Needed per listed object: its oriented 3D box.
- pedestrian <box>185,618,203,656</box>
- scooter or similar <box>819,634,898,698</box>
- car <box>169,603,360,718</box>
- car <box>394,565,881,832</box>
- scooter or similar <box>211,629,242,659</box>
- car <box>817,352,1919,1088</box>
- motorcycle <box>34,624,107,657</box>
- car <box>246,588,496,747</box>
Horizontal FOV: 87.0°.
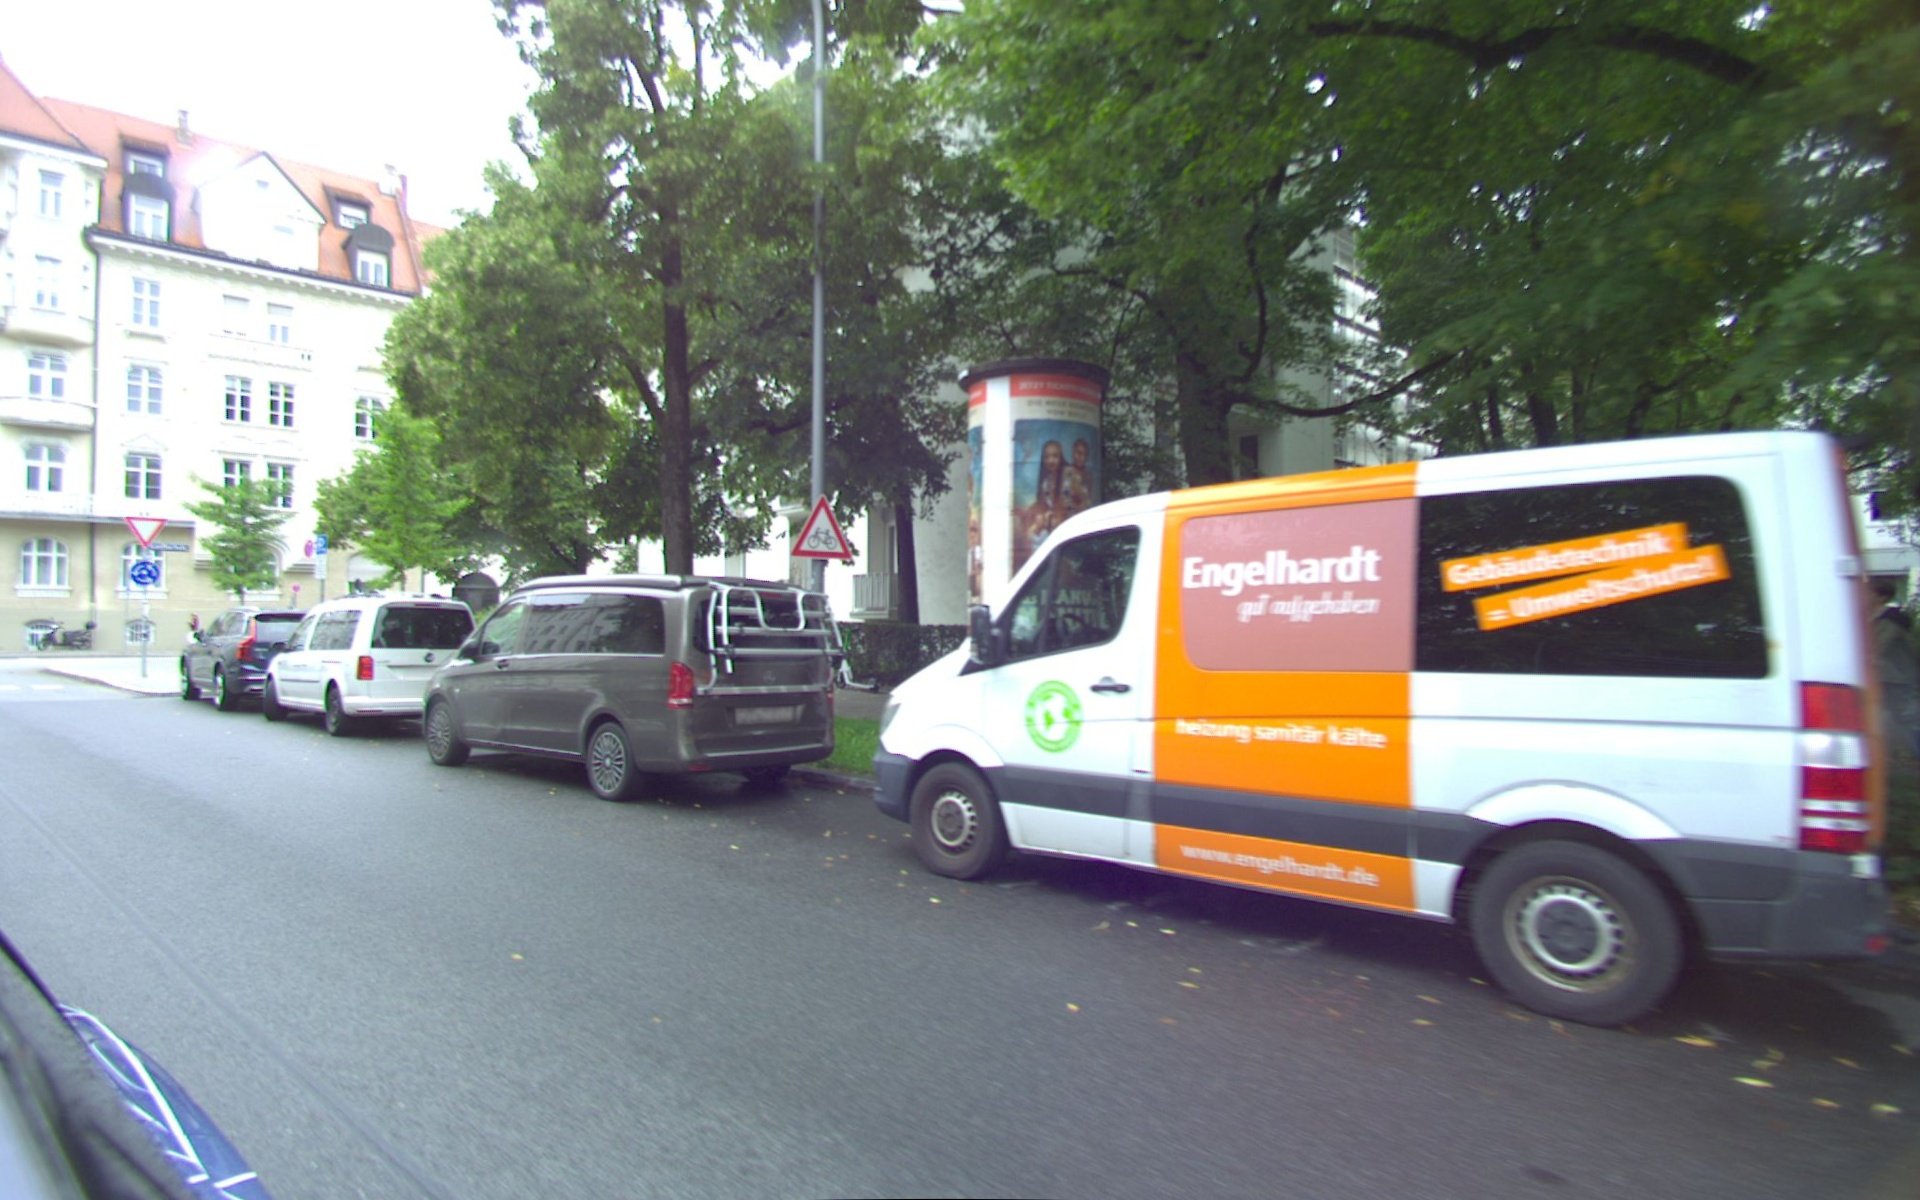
[{"bbox_3d":[-34.091,1.643,45.060,0.597,1.677,0.464,2,-1,-37],"label":"pedestrian"},{"bbox_3d":[-1.931,1.222,19.135,1.562,1.126,0.536,0,-1,41],"label":"scooter or similar"},{"bbox_3d":[-12.680,0.973,18.305,5.061,1.781,1.859,0,-1,44],"label":"car"},{"bbox_3d":[-3.417,0.811,10.017,5.454,1.979,1.925,-1,-3,40],"label":"car"},{"bbox_3d":[-31.396,1.879,43.343,0.403,1.239,1.279,1,-1,-3],"label":"scooter or similar"},{"bbox_3d":[1.805,0.451,5.693,5.403,2.366,2.093,-1,-2,40],"label":"car"},{"bbox_3d":[-37.313,1.677,42.463,2.212,1.336,0.824,2,-1,-45],"label":"motorcycle"},{"bbox_3d":[-8.698,0.908,14.741,4.834,1.952,1.859,-2,-4,44],"label":"car"}]
